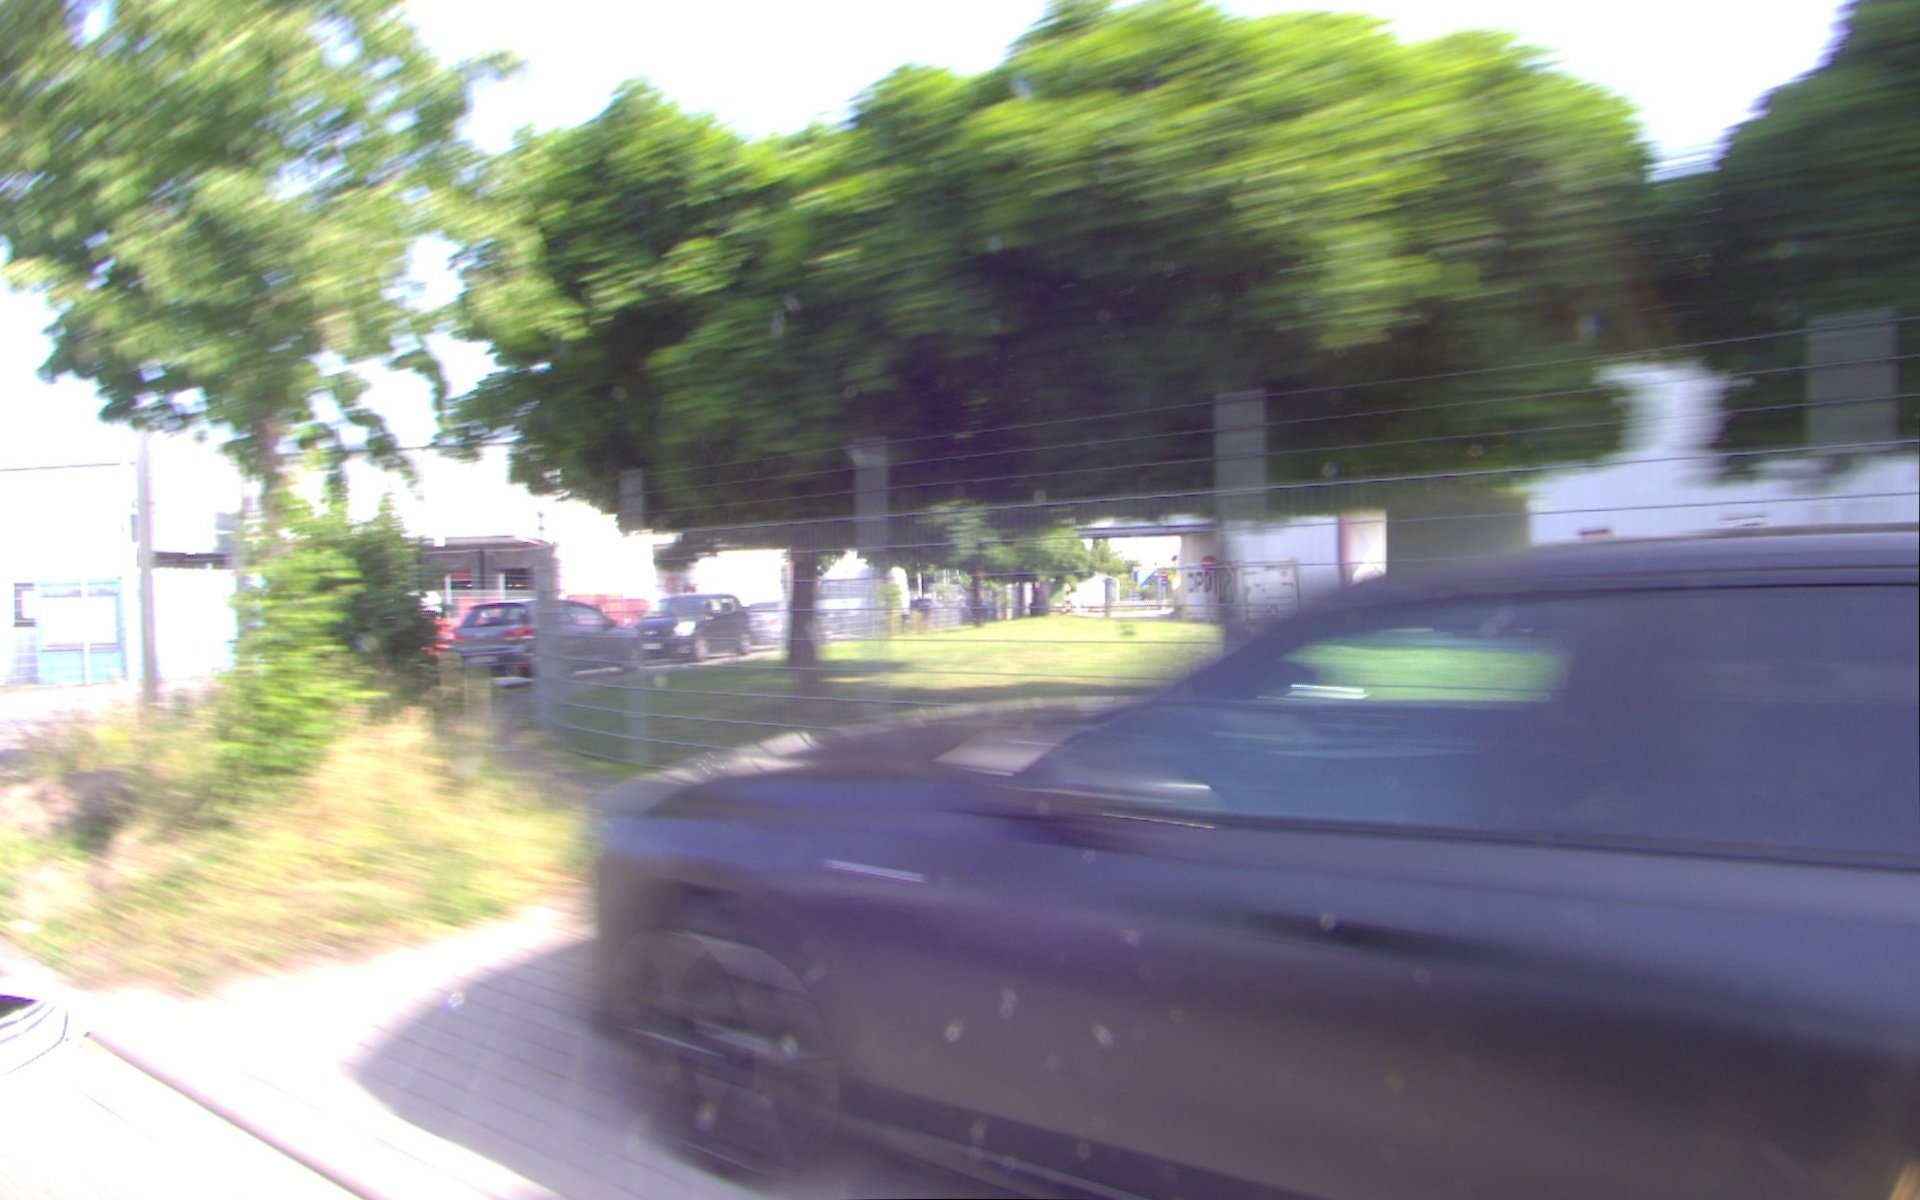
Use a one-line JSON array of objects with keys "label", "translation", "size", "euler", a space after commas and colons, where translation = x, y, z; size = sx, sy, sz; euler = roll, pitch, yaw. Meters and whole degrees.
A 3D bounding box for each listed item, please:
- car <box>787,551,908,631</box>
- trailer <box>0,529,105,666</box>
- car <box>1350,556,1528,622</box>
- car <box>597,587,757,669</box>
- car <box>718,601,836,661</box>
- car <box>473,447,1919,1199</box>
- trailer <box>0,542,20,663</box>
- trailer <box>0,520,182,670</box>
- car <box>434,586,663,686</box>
[{"label": "car", "translation": [-3.919, -0.262, 36.561], "size": [2.167, 2.515, 6.843], "euler": [-3, -1, 13]}, {"label": "trailer", "translation": [-29.230, -0.049, 27.745], "size": [2.723, 3.945, 8.558], "euler": [-1, 0, 10]}, {"label": "car", "translation": [19.897, -0.456, 41.729], "size": [6.573, 2.551, 2.173], "euler": [-2, 0, -9]}, {"label": "car", "translation": [-6.480, 0.614, 23.493], "size": [1.843, 1.646, 4.266], "euler": [-3, -1, 11]}, {"label": "car", "translation": [-5.200, 0.843, 29.128], "size": [1.696, 1.537, 4.488], "euler": [-3, -1, 13]}, {"label": "car", "translation": [1.244, 0.592, 2.322], "size": [5.046, 1.595, 1.876], "euler": [-1, 1, 33]}, {"label": "trailer", "translation": [-32.277, 0.035, 28.089], "size": [2.737, 3.809, 8.759], "euler": [-1, -1, 9]}, {"label": "trailer", "translation": [-26.351, -0.061, 27.105], "size": [2.724, 3.944, 8.559], "euler": [-3, -1, 11]}, {"label": "car", "translation": [-7.280, 0.604, 18.191], "size": [1.697, 1.543, 3.955], "euler": [-4, -1, 16]}]
